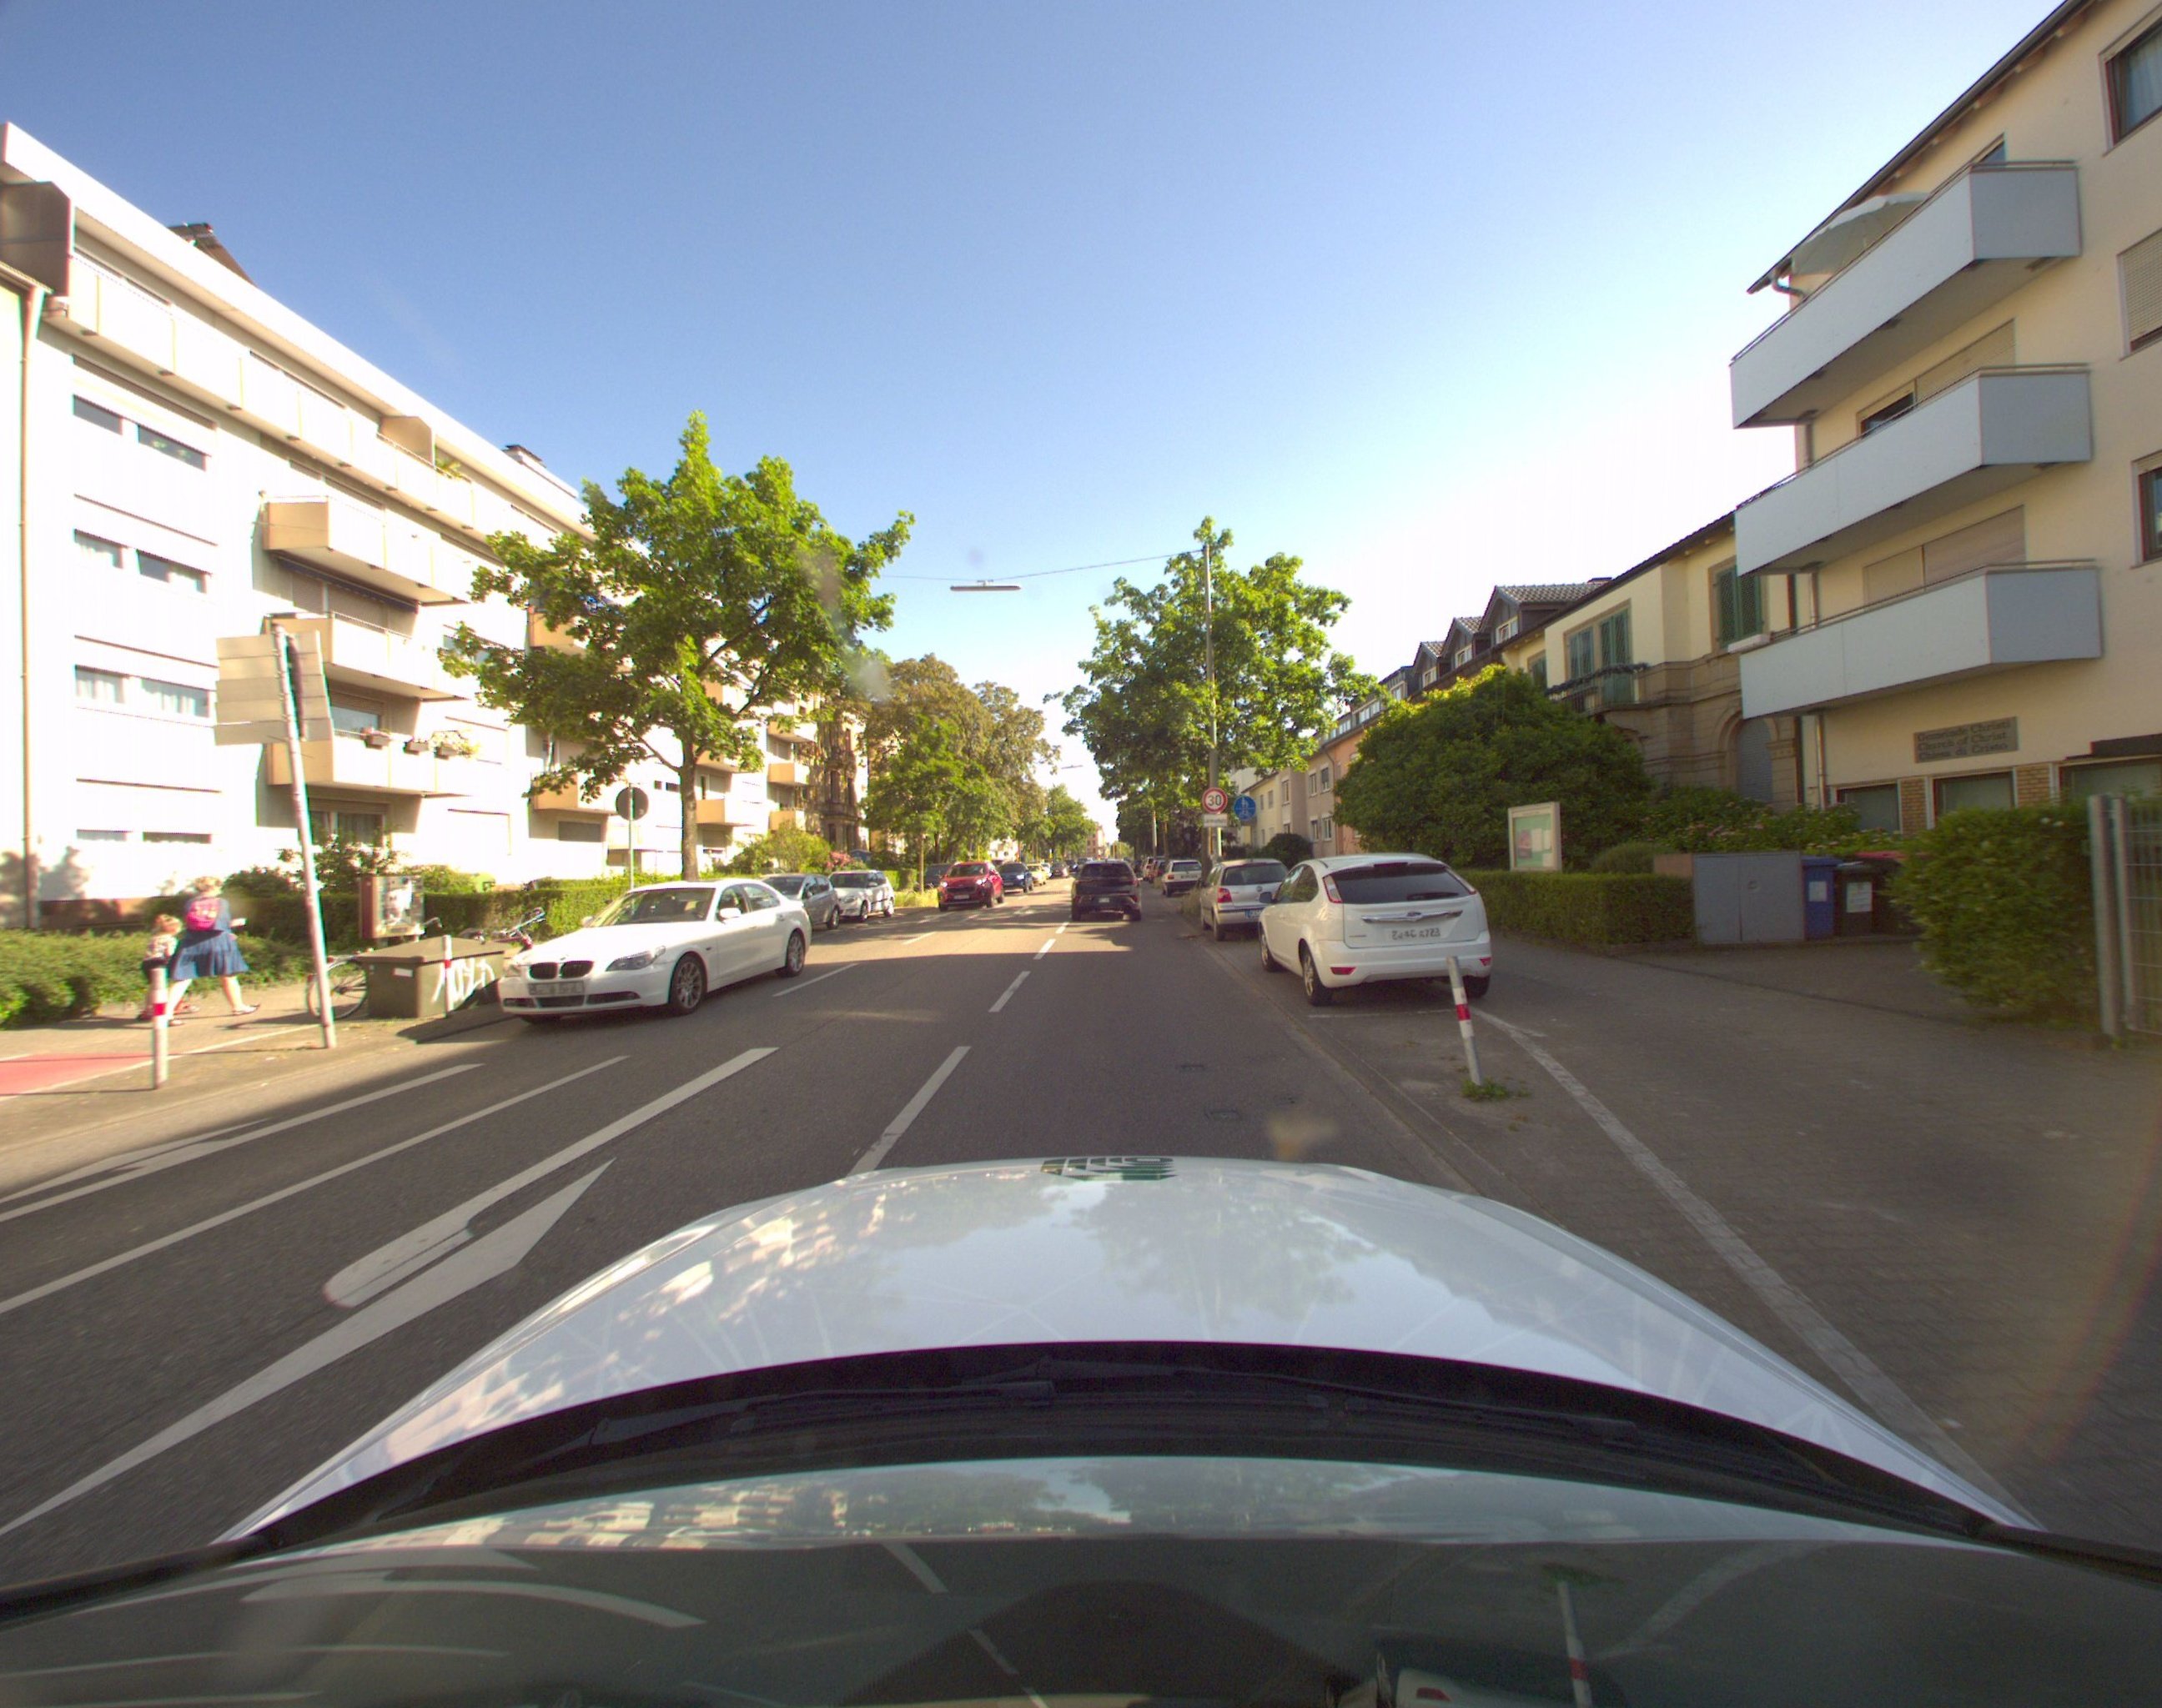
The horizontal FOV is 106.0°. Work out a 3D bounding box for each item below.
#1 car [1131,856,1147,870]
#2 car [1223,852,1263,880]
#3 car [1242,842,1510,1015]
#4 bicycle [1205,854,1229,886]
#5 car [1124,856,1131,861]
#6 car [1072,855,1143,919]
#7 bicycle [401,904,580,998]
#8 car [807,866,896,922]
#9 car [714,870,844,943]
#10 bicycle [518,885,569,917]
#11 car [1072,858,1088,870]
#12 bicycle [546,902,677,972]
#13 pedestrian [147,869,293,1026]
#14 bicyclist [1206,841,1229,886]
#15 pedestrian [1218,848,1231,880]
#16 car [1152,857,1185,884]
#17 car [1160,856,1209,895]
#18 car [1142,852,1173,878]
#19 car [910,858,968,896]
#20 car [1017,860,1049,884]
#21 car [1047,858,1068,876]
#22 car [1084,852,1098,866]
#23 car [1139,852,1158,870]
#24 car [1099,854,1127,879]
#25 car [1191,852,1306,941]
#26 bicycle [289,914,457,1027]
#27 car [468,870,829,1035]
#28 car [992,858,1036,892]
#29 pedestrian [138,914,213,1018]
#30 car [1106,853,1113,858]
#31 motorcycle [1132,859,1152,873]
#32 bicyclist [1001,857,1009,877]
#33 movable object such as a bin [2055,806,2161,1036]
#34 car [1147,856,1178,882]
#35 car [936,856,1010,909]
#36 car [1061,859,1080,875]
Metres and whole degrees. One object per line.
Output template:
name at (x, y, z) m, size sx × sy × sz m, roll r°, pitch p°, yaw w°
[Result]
car at (6.313, 0.986, 88.355) m, size 1.579 × 1.396 × 4.458 m, roll -3°, pitch 0°, yaw 3°
car at (8.860, 0.618, 44.692) m, size 1.526 × 1.356 × 3.720 m, roll -4°, pitch 0°, yaw 2°
car at (3.088, 0.697, 9.491) m, size 1.732 × 1.482 × 4.199 m, roll -3°, pitch -1°, yaw 3°
bicycle at (5.600, 0.651, 33.517) m, size 0.695 × 1.247 × 1.823 m, roll -3°, pitch 0°, yaw 3°
car at (14.834, 1.504, 258.565) m, size 1.984 × 1.519 × 4.004 m, roll 1°, pitch -1°, yaw 4°
car at (0.731, 0.821, 21.728) m, size 1.738 × 1.574 × 3.560 m, roll 0°, pitch -1°, yaw 2°
bicycle at (-7.823, 1.273, 10.836) m, size 1.962 × 1.162 × 0.519 m, roll -1°, pitch -1°, yaw -2°
car at (-6.817, 1.145, 24.572) m, size 1.395 × 1.489 × 3.689 m, roll -1°, pitch 0°, yaw 4°
car at (-7.063, 1.172, 19.456) m, size 1.498 × 1.475 × 3.898 m, roll -1°, pitch 0°, yaw 2°
bicycle at (-17.658, 1.535, 26.783) m, size 0.479 × 0.941 × 1.656 m, roll -3°, pitch 0°, yaw 3°
car at (-0.131, 1.319, 107.278) m, size 1.726 × 1.412 × 4.194 m, roll -4°, pitch -1°, yaw 2°
bicycle at (-7.714, 1.357, 13.420) m, size 1.819 × 1.087 × 0.560 m, roll 1°, pitch -1°, yaw 1°
pedestrian at (-9.849, 1.032, 9.356) m, size 0.667 × 1.686 × 0.930 m, roll -1°, pitch -1°, yaw 1°
bicyclist at (5.594, 0.391, 33.454) m, size 0.721 × 1.793 × 1.016 m, roll -3°, pitch -1°, yaw 2°
pedestrian at (7.538, 0.526, 42.675) m, size 0.536 × 1.677 × 0.494 m, roll -3°, pitch -1°, yaw 2°
car at (4.823, 0.878, 45.204) m, size 1.526 × 1.356 × 3.720 m, roll -2°, pitch 0°, yaw 2°
car at (4.112, 0.823, 32.869) m, size 1.642 × 1.403 × 3.974 m, roll -4°, pitch 0°, yaw 4°
car at (5.245, 0.737, 56.547) m, size 1.762 × 1.659 × 4.342 m, roll -3°, pitch 0°, yaw 1°
car at (-6.486, 1.022, 37.626) m, size 1.663 × 1.605 × 4.397 m, roll -1°, pitch 0°, yaw 3°
car at (-3.093, 1.156, 53.019) m, size 1.629 × 1.403 × 3.737 m, roll -4°, pitch -1°, yaw 1°
car at (-2.021, 1.138, 71.939) m, size 1.575 × 1.451 × 3.746 m, roll -3°, pitch 0°, yaw 2°
car at (1.577, 0.764, 128.713) m, size 2.009 × 1.952 × 5.180 m, roll -4°, pitch 0°, yaw 2°
car at (5.950, 0.641, 72.029) m, size 1.613 × 1.499 × 3.653 m, roll -3°, pitch 0°, yaw 4°
car at (2.261, 0.845, 56.259) m, size 1.822 × 1.578 × 3.842 m, roll -2°, pitch 0°, yaw 3°
car at (3.161, 0.748, 16.053) m, size 1.561 × 1.457 × 3.867 m, roll -3°, pitch -1°, yaw 2°
bicycle at (-8.281, 1.318, 9.630) m, size 0.424 × 1.078 × 1.707 m, roll -2°, pitch 0°, yaw 2°
car at (-5.051, 1.029, 10.489) m, size 1.806 × 1.465 × 4.782 m, roll -4°, pitch -1°, yaw 3°
car at (-3.419, 1.051, 42.122) m, size 1.649 × 1.517 × 4.079 m, roll -4°, pitch -1°, yaw 2°
pedestrian at (-10.693, 1.309, 9.627) m, size 0.333 × 1.160 × 0.490 m, roll -1°, pitch -1°, yaw 2°
car at (8.494, 0.564, 243.085) m, size 1.766 × 1.452 × 3.884 m, roll -2°, pitch 0°, yaw 0°
motorcycle at (5.765, 1.112, 77.070) m, size 0.701 × 1.271 × 2.411 m, roll -3°, pitch 0°, yaw -25°
bicyclist at (-6.779, 1.144, 72.803) m, size 0.606 × 1.754 × 0.692 m, roll -2°, pitch -1°, yaw 2°
movable object such as a bin at (6.981, 0.372, 4.941) m, size 1.137 × 1.355 × 0.841 m, roll -4°, pitch 0°, yaw -7°
car at (4.949, 0.908, 49.900) m, size 1.526 × 1.449 × 3.719 m, roll -2°, pitch 0°, yaw 1°
car at (-3.771, 0.952, 29.151) m, size 1.714 × 1.617 × 4.303 m, roll -5°, pitch 0°, yaw 3°
car at (-1.144, 1.445, 92.631) m, size 1.829 × 1.614 × 4.403 m, roll -4°, pitch 0°, yaw 2°
